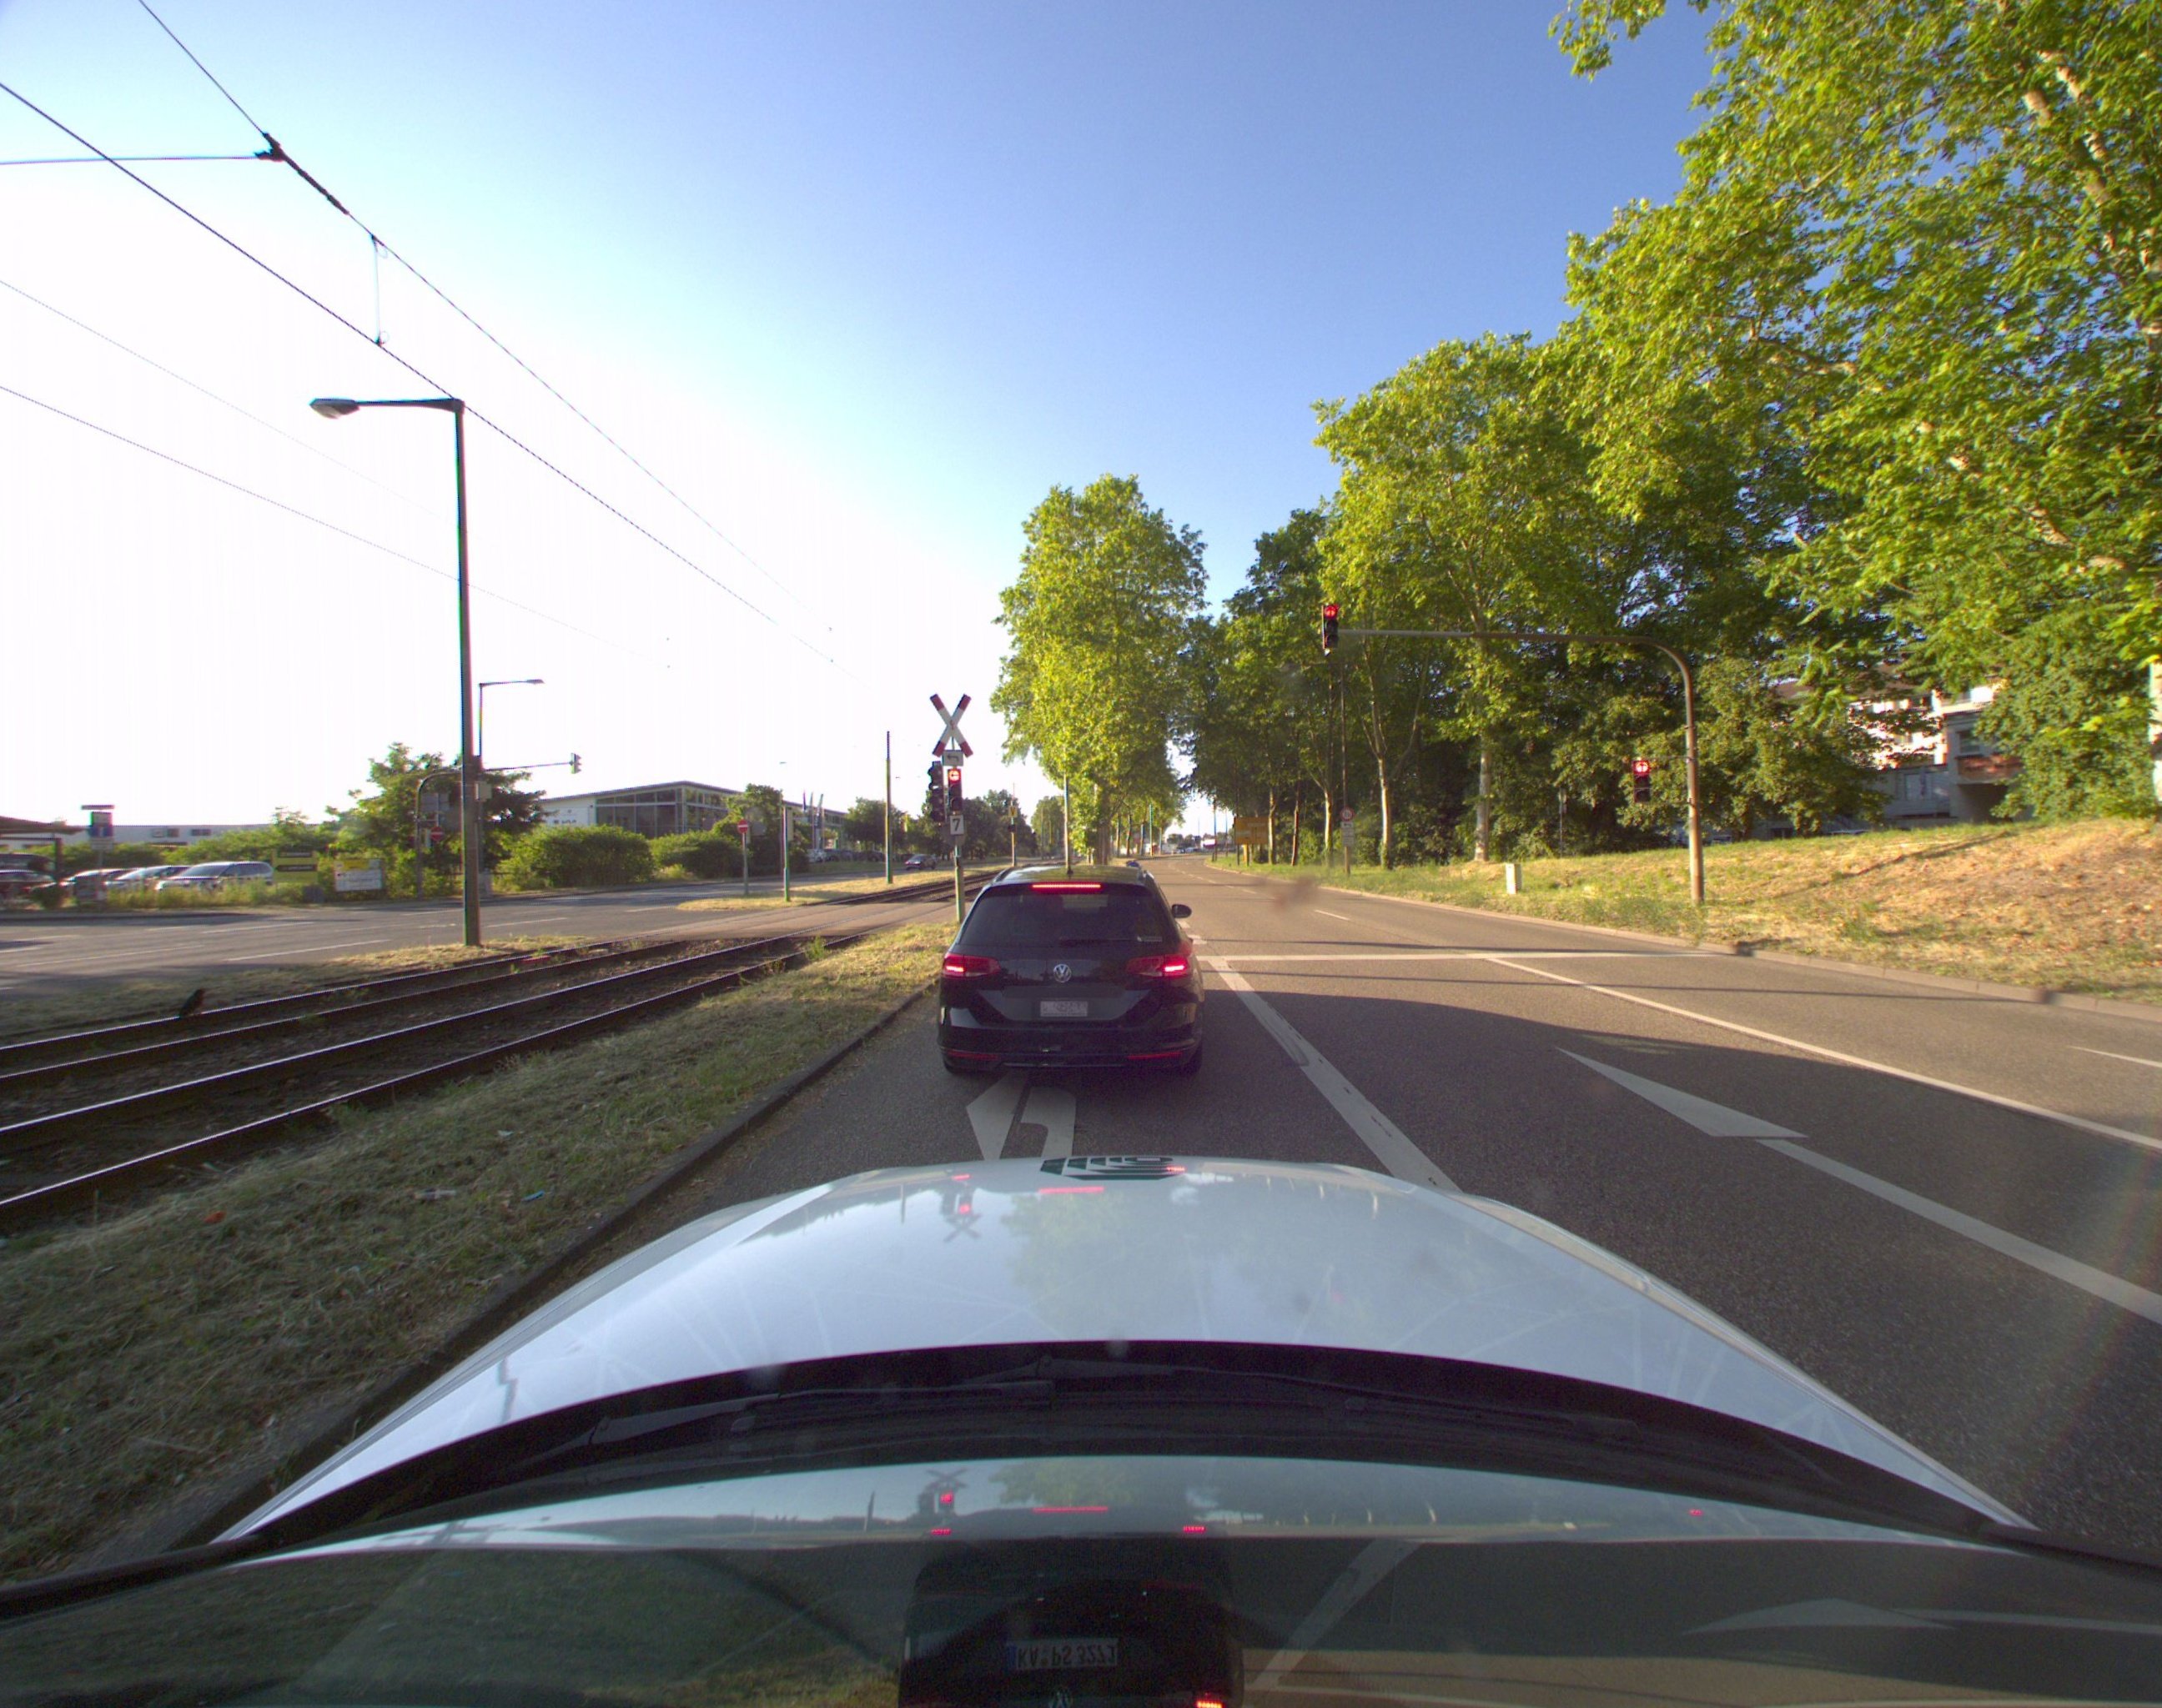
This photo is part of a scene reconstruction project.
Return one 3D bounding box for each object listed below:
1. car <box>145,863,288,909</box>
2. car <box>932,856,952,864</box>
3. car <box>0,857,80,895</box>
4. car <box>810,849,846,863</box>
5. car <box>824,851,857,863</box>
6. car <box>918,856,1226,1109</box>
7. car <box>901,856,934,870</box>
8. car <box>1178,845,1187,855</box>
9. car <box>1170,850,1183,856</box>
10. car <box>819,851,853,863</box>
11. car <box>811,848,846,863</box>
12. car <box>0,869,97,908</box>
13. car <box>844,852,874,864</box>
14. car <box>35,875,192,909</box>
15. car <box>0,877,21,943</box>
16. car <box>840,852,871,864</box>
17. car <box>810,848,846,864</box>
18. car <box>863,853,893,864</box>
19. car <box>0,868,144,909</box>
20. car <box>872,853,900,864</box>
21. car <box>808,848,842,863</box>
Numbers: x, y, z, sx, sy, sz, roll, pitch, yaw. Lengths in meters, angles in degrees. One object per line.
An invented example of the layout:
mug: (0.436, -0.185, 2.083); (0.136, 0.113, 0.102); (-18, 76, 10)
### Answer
car: (-38.512, 1.380, 36.437); (1.855, 1.821, 4.174); (0, 0, 2)
car: (-28.790, 1.277, 168.946); (3.977, 1.556, 1.742); (-1, 0, -2)
car: (-60.410, 1.233, 45.932); (1.855, 2.014, 4.773); (0, 0, 2)
car: (-29.936, 0.234, 96.409); (3.999, 1.704, 1.732); (-1, 0, -19)
car: (-31.350, 0.419, 106.235); (3.999, 1.556, 1.732); (-1, 0, -19)
car: (-0.010, 0.753, 6.546); (1.788, 1.464, 3.584); (0, 0, 1)
car: (-17.884, 0.977, 89.292); (1.849, 1.481, 4.187); (0, 0, 14)
car: (27.357, -1.070, 220.308); (2.086, 2.461, 5.857); (0, 0, 3)
car: (22.178, -0.259, 188.553); (1.846, 1.481, 4.113); (0, 0, 22)
car: (-31.136, 0.374, 103.444); (3.999, 1.556, 1.732); (-1, 0, -19)
car: (-30.588, 0.200, 98.764); (3.999, 1.816, 1.732); (-1, 0, -19)
car: (-47.149, 1.517, 36.071); (1.970, 1.583, 4.174); (0, 0, 2)
car: (-31.421, 0.553, 115.339); (3.983, 1.556, 1.739); (-1, 0, -7)
car: (-42.460, 1.624, 35.915); (1.855, 1.267, 4.174); (0, 0, 2)
car: (-28.992, 1.448, 19.645); (4.341, 1.635, 1.878); (-1, 0, 0)
car: (-31.213, 0.514, 112.633); (3.999, 1.556, 1.732); (-1, 0, -19)
car: (-29.247, 0.215, 94.140); (3.999, 1.704, 1.732); (-1, 0, -19)
car: (-30.591, 0.625, 122.772); (3.978, 1.621, 1.742); (-1, 0, -3)
car: (-44.700, 1.466, 35.919); (1.855, 1.583, 4.174); (0, 0, 2)
car: (-30.102, 0.669, 125.973); (3.978, 1.621, 1.742); (-1, 0, -3)
car: (-31.631, 0.203, 100.544); (3.999, 1.816, 1.732); (-1, 0, -19)
